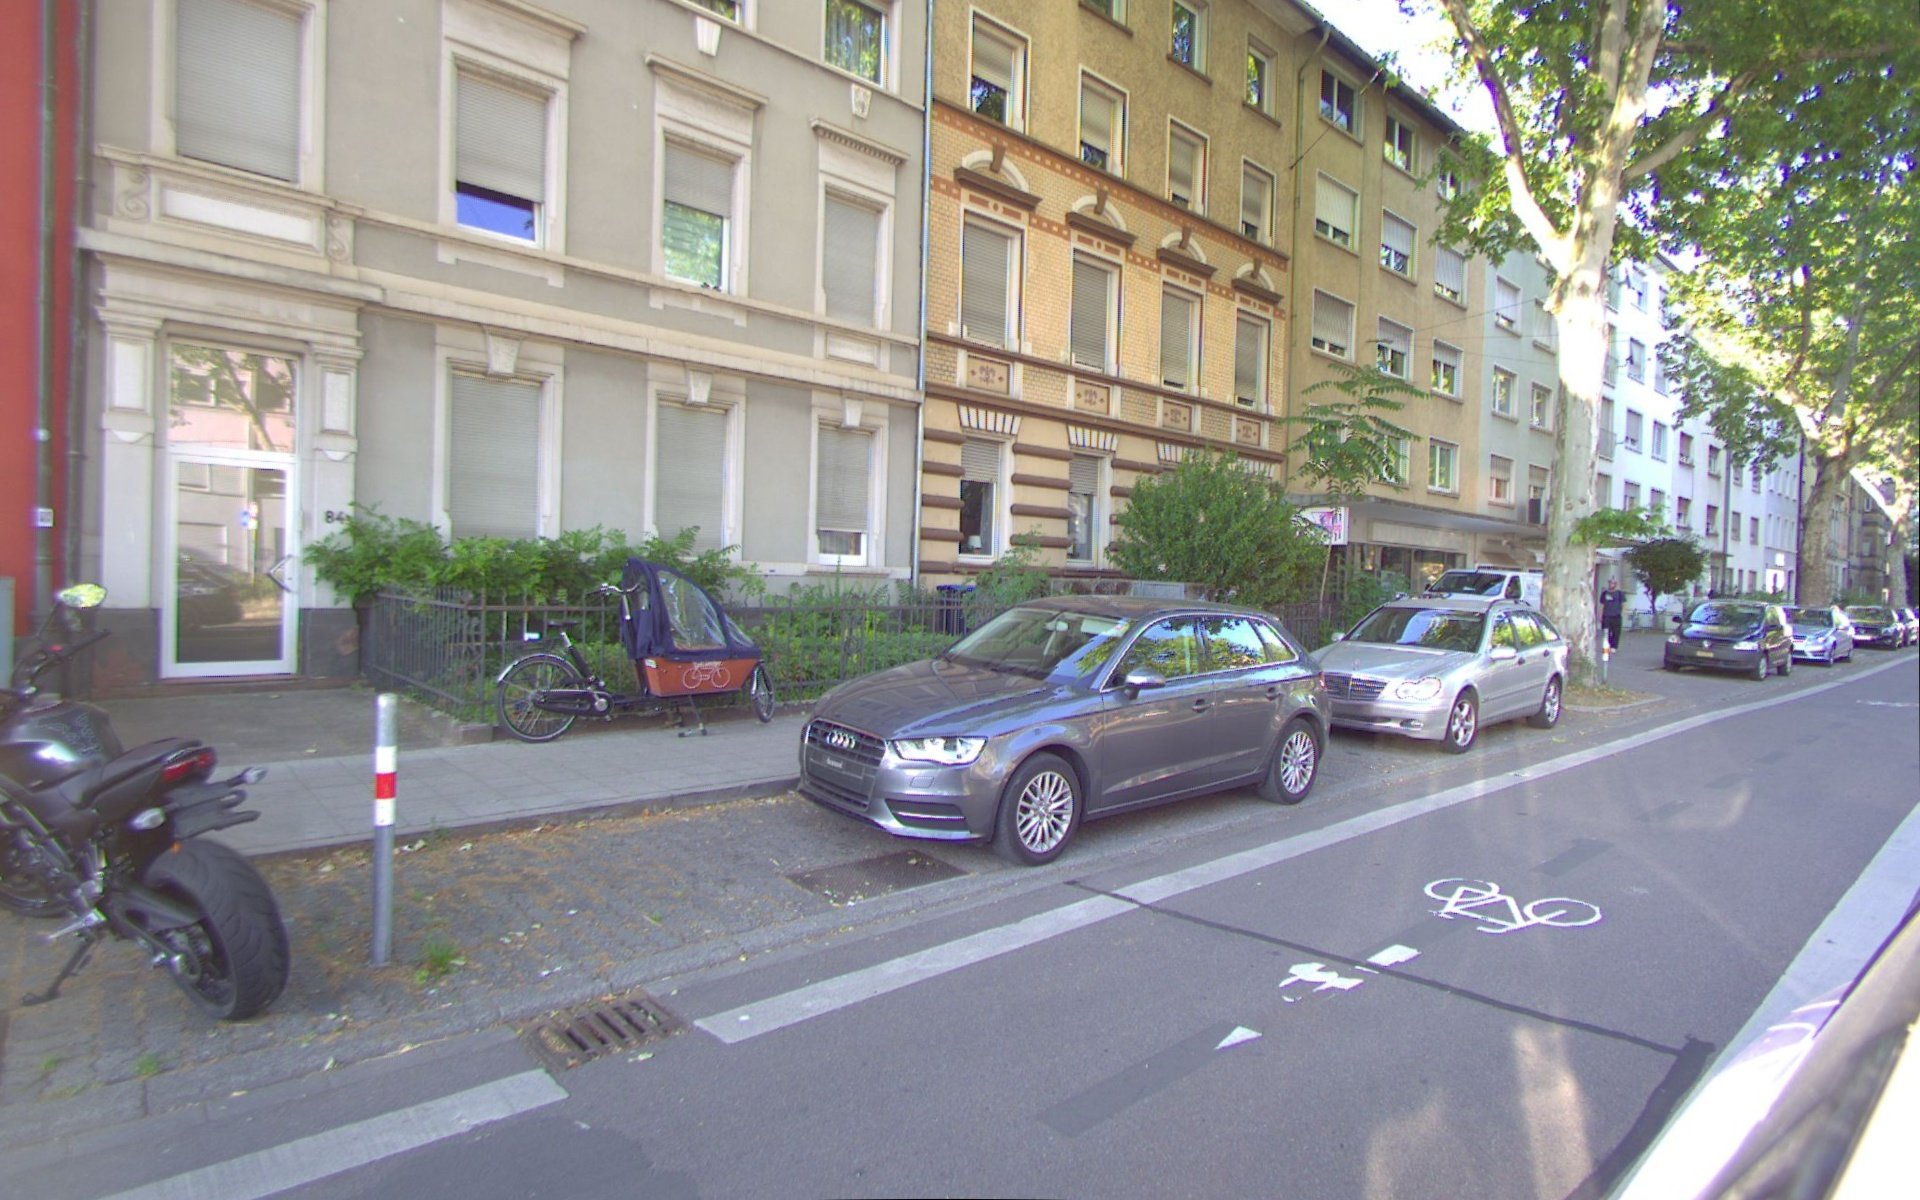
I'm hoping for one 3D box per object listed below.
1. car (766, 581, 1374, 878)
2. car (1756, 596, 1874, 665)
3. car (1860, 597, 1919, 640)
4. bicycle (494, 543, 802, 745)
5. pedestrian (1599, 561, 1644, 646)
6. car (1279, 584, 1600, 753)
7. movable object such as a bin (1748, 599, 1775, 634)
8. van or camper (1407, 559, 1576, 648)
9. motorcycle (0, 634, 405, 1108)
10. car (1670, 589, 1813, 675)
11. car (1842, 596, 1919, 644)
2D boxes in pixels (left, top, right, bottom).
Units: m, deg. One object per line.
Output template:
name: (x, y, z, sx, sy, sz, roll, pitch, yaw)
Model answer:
car: (0.974, 0.625, 6.989, 4.245, 1.414, 1.714, 0, 2, -41)
car: (21.998, 0.719, 25.965, 4.695, 1.562, 1.697, 0, 2, -42)
car: (35.194, 0.656, 37.885, 4.289, 1.432, 1.712, 0, 4, -42)
bicycle: (-2.461, 0.308, 8.243, 2.354, 1.445, 0.608, 0, 0, -41)
pedestrian: (16.414, 0.079, 25.105, 0.995, 2.038, 0.683, 0, 1, -43)
car: (5.461, 0.599, 11.216, 4.494, 1.469, 1.676, 0, 2, -43)
movable object such as a bin: (28.097, 0.568, 35.474, 0.655, 1.173, 0.616, 0, 2, -44)
van or camper: (13.180, 0.044, 24.925, 5.299, 1.946, 1.945, 0, 2, -42)
motorcycle: (-3.024, 0.764, 3.582, 2.193, 1.076, 0.760, 4, 2, 28)
car: (16.245, 0.597, 20.972, 3.932, 1.564, 1.656, 0, 2, -42)
car: (31.667, 0.632, 34.616, 4.289, 1.432, 1.712, 0, 4, -42)
